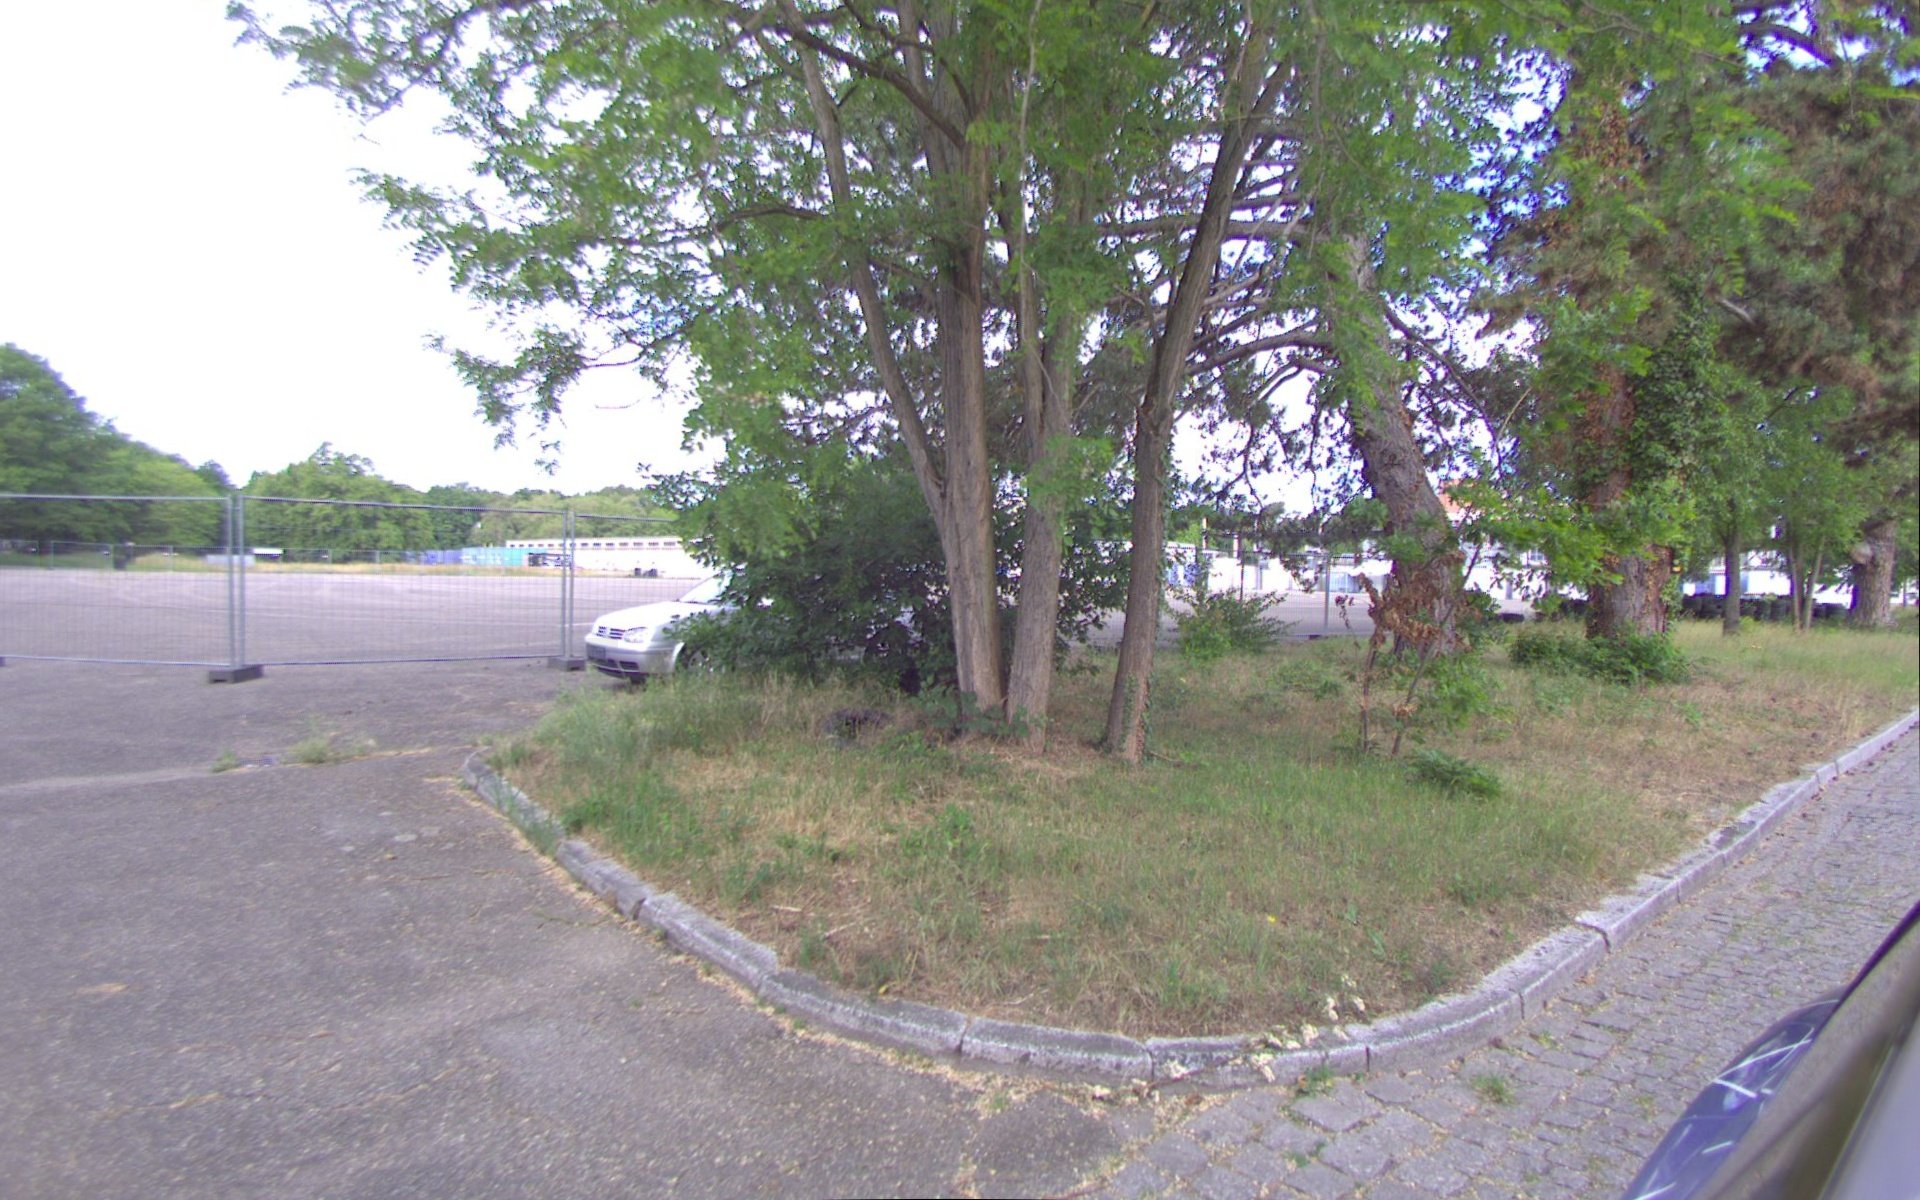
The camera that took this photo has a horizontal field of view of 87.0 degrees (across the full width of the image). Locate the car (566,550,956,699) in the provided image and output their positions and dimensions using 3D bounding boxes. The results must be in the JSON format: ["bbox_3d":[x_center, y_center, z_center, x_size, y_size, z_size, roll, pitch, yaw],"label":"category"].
[{"bbox_3d":[-2.214,0.188,12.146,4.415,1.468,1.675,-1,2,-44],"label":"car"}]
